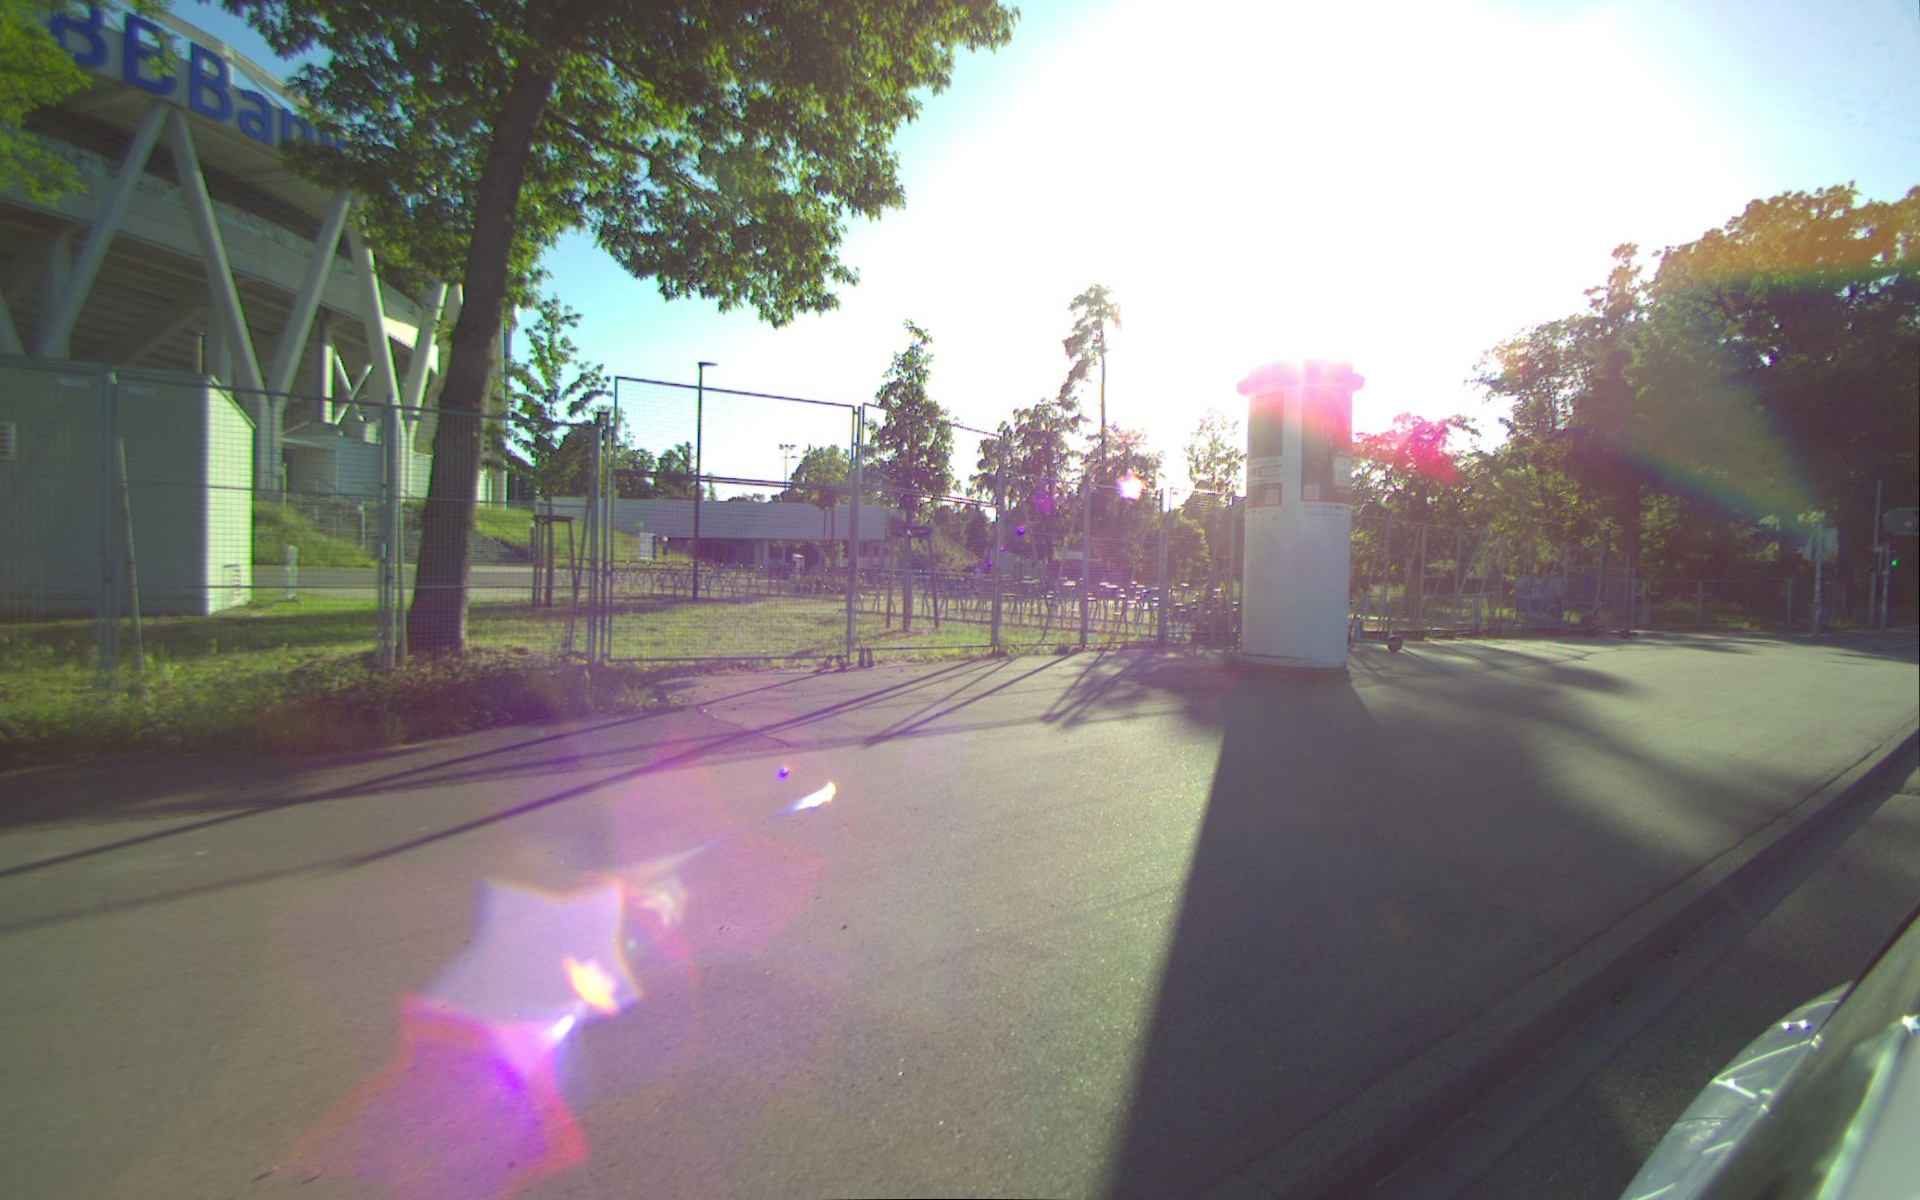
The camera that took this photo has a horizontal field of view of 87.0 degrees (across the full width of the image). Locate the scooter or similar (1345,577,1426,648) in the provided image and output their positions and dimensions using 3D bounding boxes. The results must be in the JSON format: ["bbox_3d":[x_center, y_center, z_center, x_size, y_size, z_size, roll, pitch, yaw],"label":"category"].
[{"bbox_3d":[7.780,0.217,18.544,1.282,1.253,0.334,2,1,16],"label":"scooter or similar"}]
